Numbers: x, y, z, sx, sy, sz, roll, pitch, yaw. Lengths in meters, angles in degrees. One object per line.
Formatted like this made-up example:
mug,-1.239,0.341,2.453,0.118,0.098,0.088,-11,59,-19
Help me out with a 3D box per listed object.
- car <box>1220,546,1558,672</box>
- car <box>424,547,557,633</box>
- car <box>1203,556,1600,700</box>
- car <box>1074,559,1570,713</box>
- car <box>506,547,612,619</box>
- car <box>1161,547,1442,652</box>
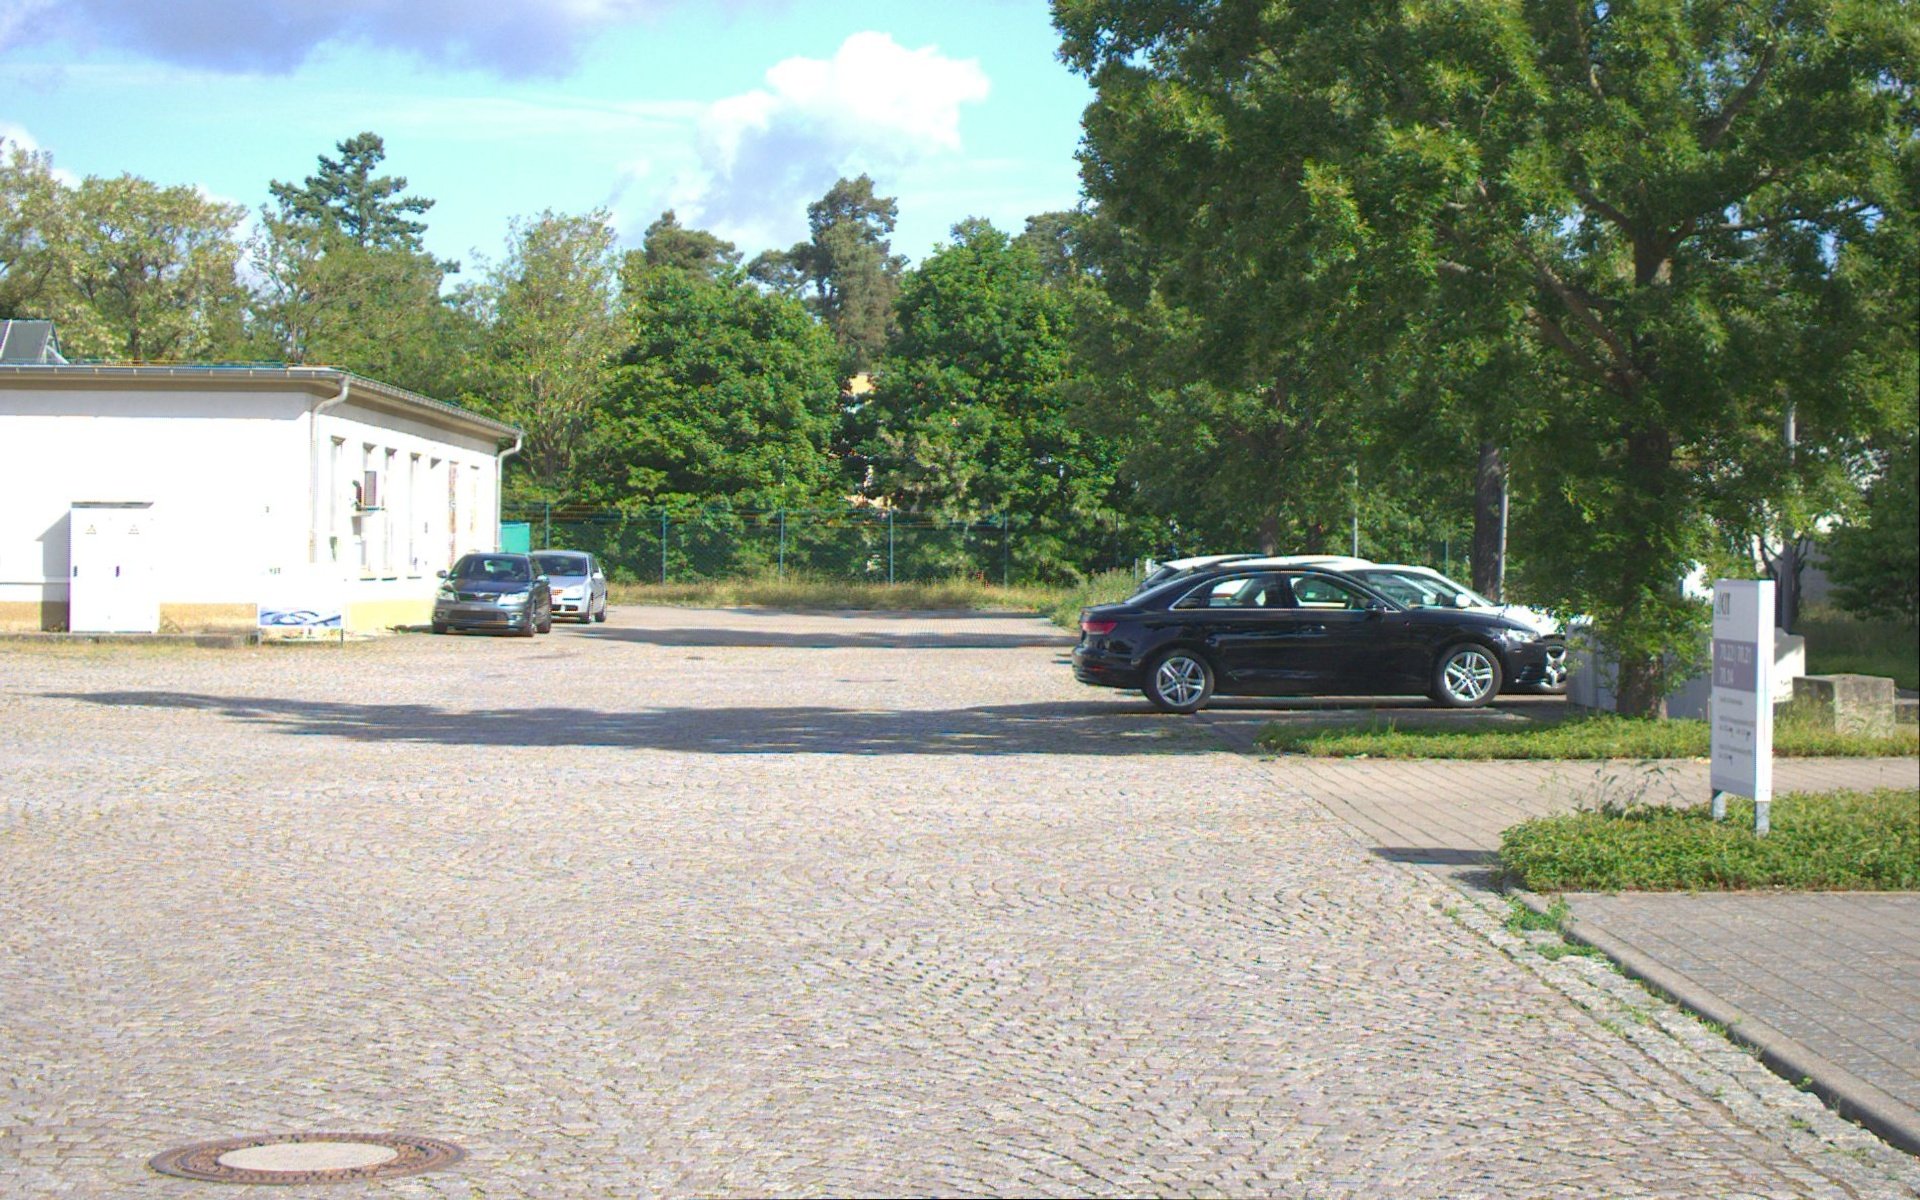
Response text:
car,5.208,0.096,42.090,3.912,1.441,1.756,-1,1,1
car,-8.285,-0.199,61.000,1.763,1.430,3.992,1,1,0
car,4.714,0.286,37.067,4.139,1.455,1.691,-1,1,5
car,3.555,0.339,34.341,4.718,1.418,1.757,-1,1,-1
car,-8.263,-0.366,71.114,1.687,1.430,3.987,1,1,0
car,4.948,-0.016,50.128,3.912,1.430,1.796,-1,1,1
